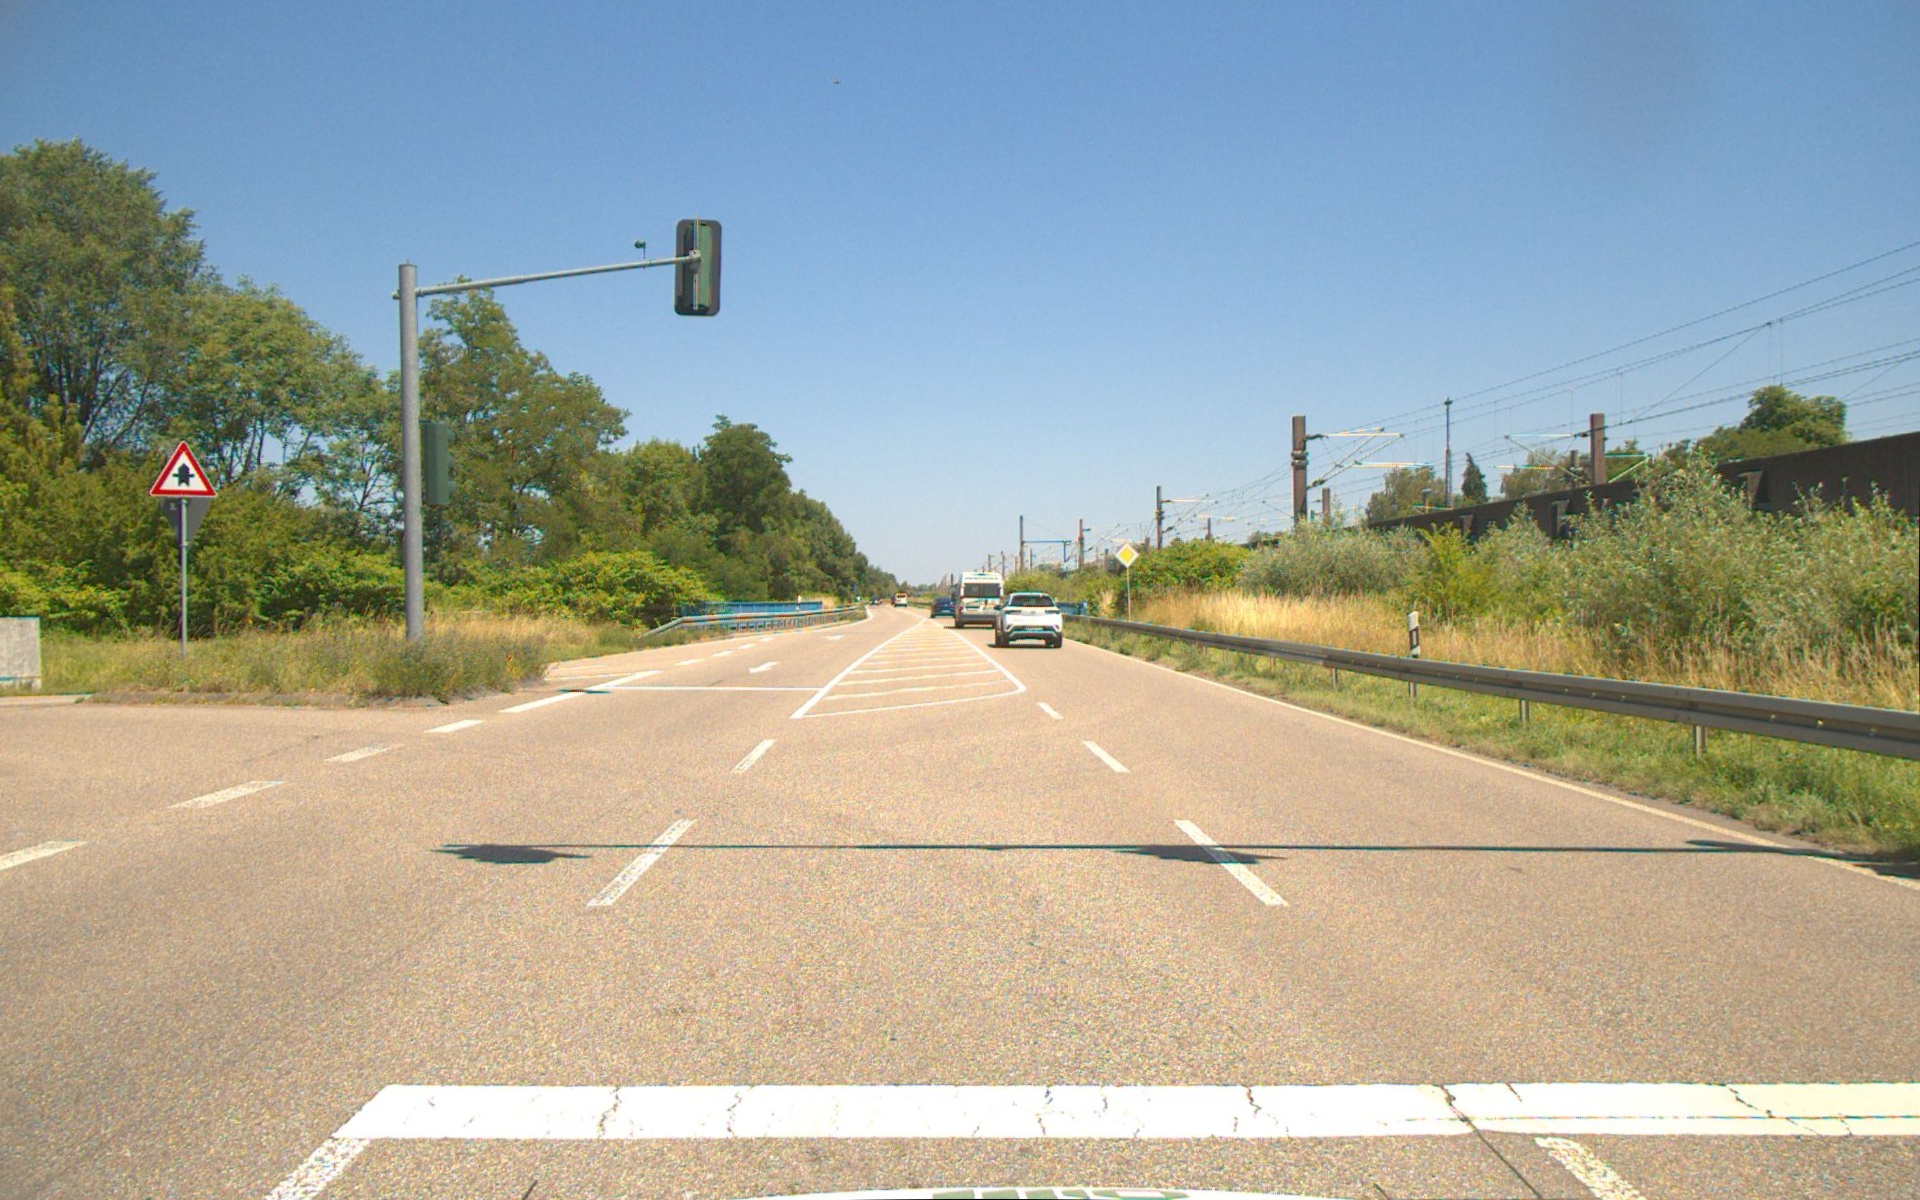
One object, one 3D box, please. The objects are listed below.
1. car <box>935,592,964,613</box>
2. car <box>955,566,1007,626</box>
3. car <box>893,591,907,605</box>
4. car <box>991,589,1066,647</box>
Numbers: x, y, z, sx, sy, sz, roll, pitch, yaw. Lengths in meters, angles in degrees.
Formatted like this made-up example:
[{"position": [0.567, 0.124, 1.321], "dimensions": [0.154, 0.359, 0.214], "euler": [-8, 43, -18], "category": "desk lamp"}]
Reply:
[{"position": [-0.715, 0.159, 112.765], "dimensions": [1.819, 1.404, 4.501], "euler": [1, 0, -2], "category": "car"}, {"position": [0.924, -0.189, 77.203], "dimensions": [2.144, 2.649, 6.749], "euler": [1, 0, -1], "category": "car"}, {"position": [-8.856, -0.300, 245.004], "dimensions": [1.954, 2.018, 4.058], "euler": [1, 0, -3], "category": "car"}, {"position": [1.953, 0.494, 48.369], "dimensions": [1.782, 1.591, 4.275], "euler": [0, 0, -3], "category": "car"}]
